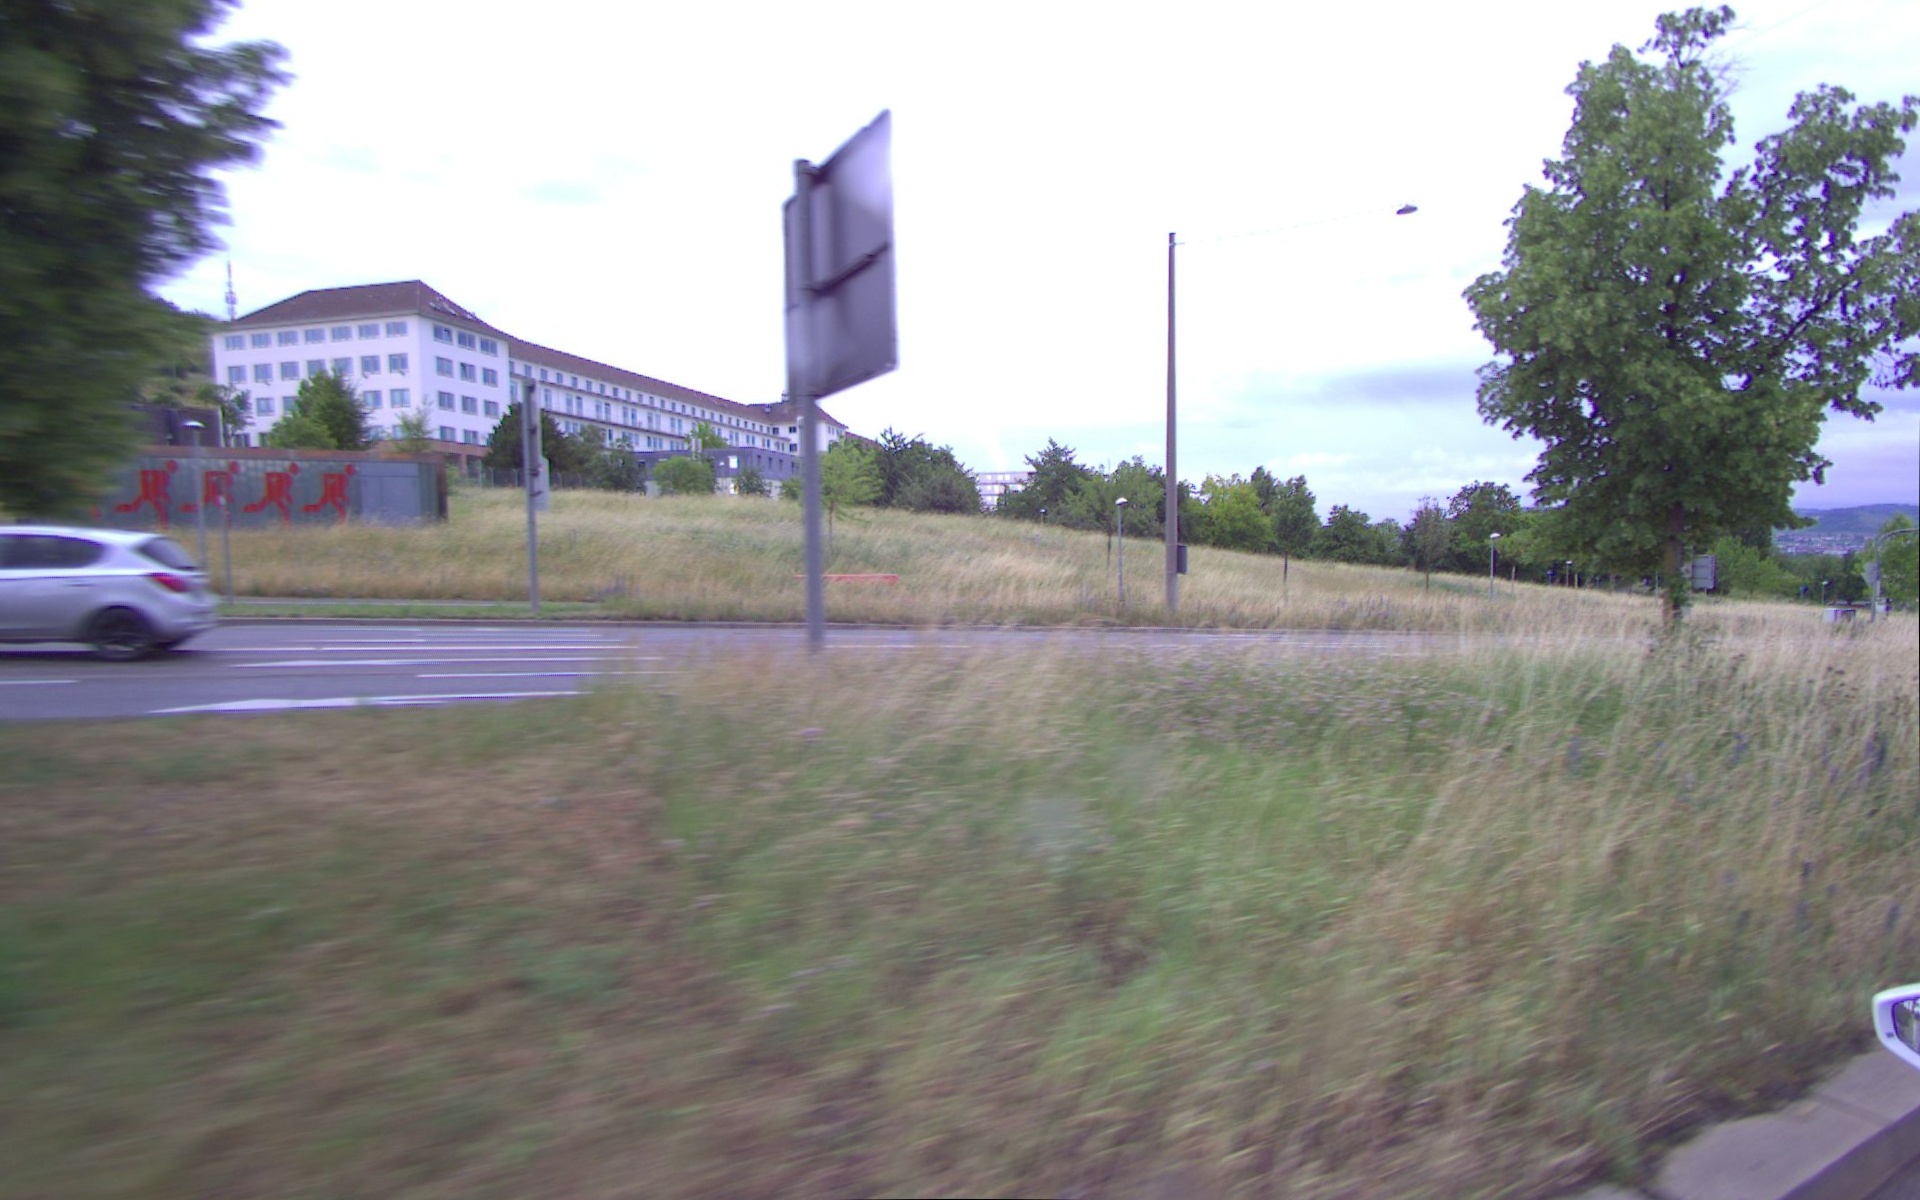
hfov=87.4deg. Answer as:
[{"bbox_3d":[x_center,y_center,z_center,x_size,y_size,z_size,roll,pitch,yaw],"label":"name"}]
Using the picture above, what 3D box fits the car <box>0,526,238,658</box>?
[{"bbox_3d":[-10.675,-0.114,11.313,3.874,1.408,1.534,1,1,-25],"label":"car"}]
